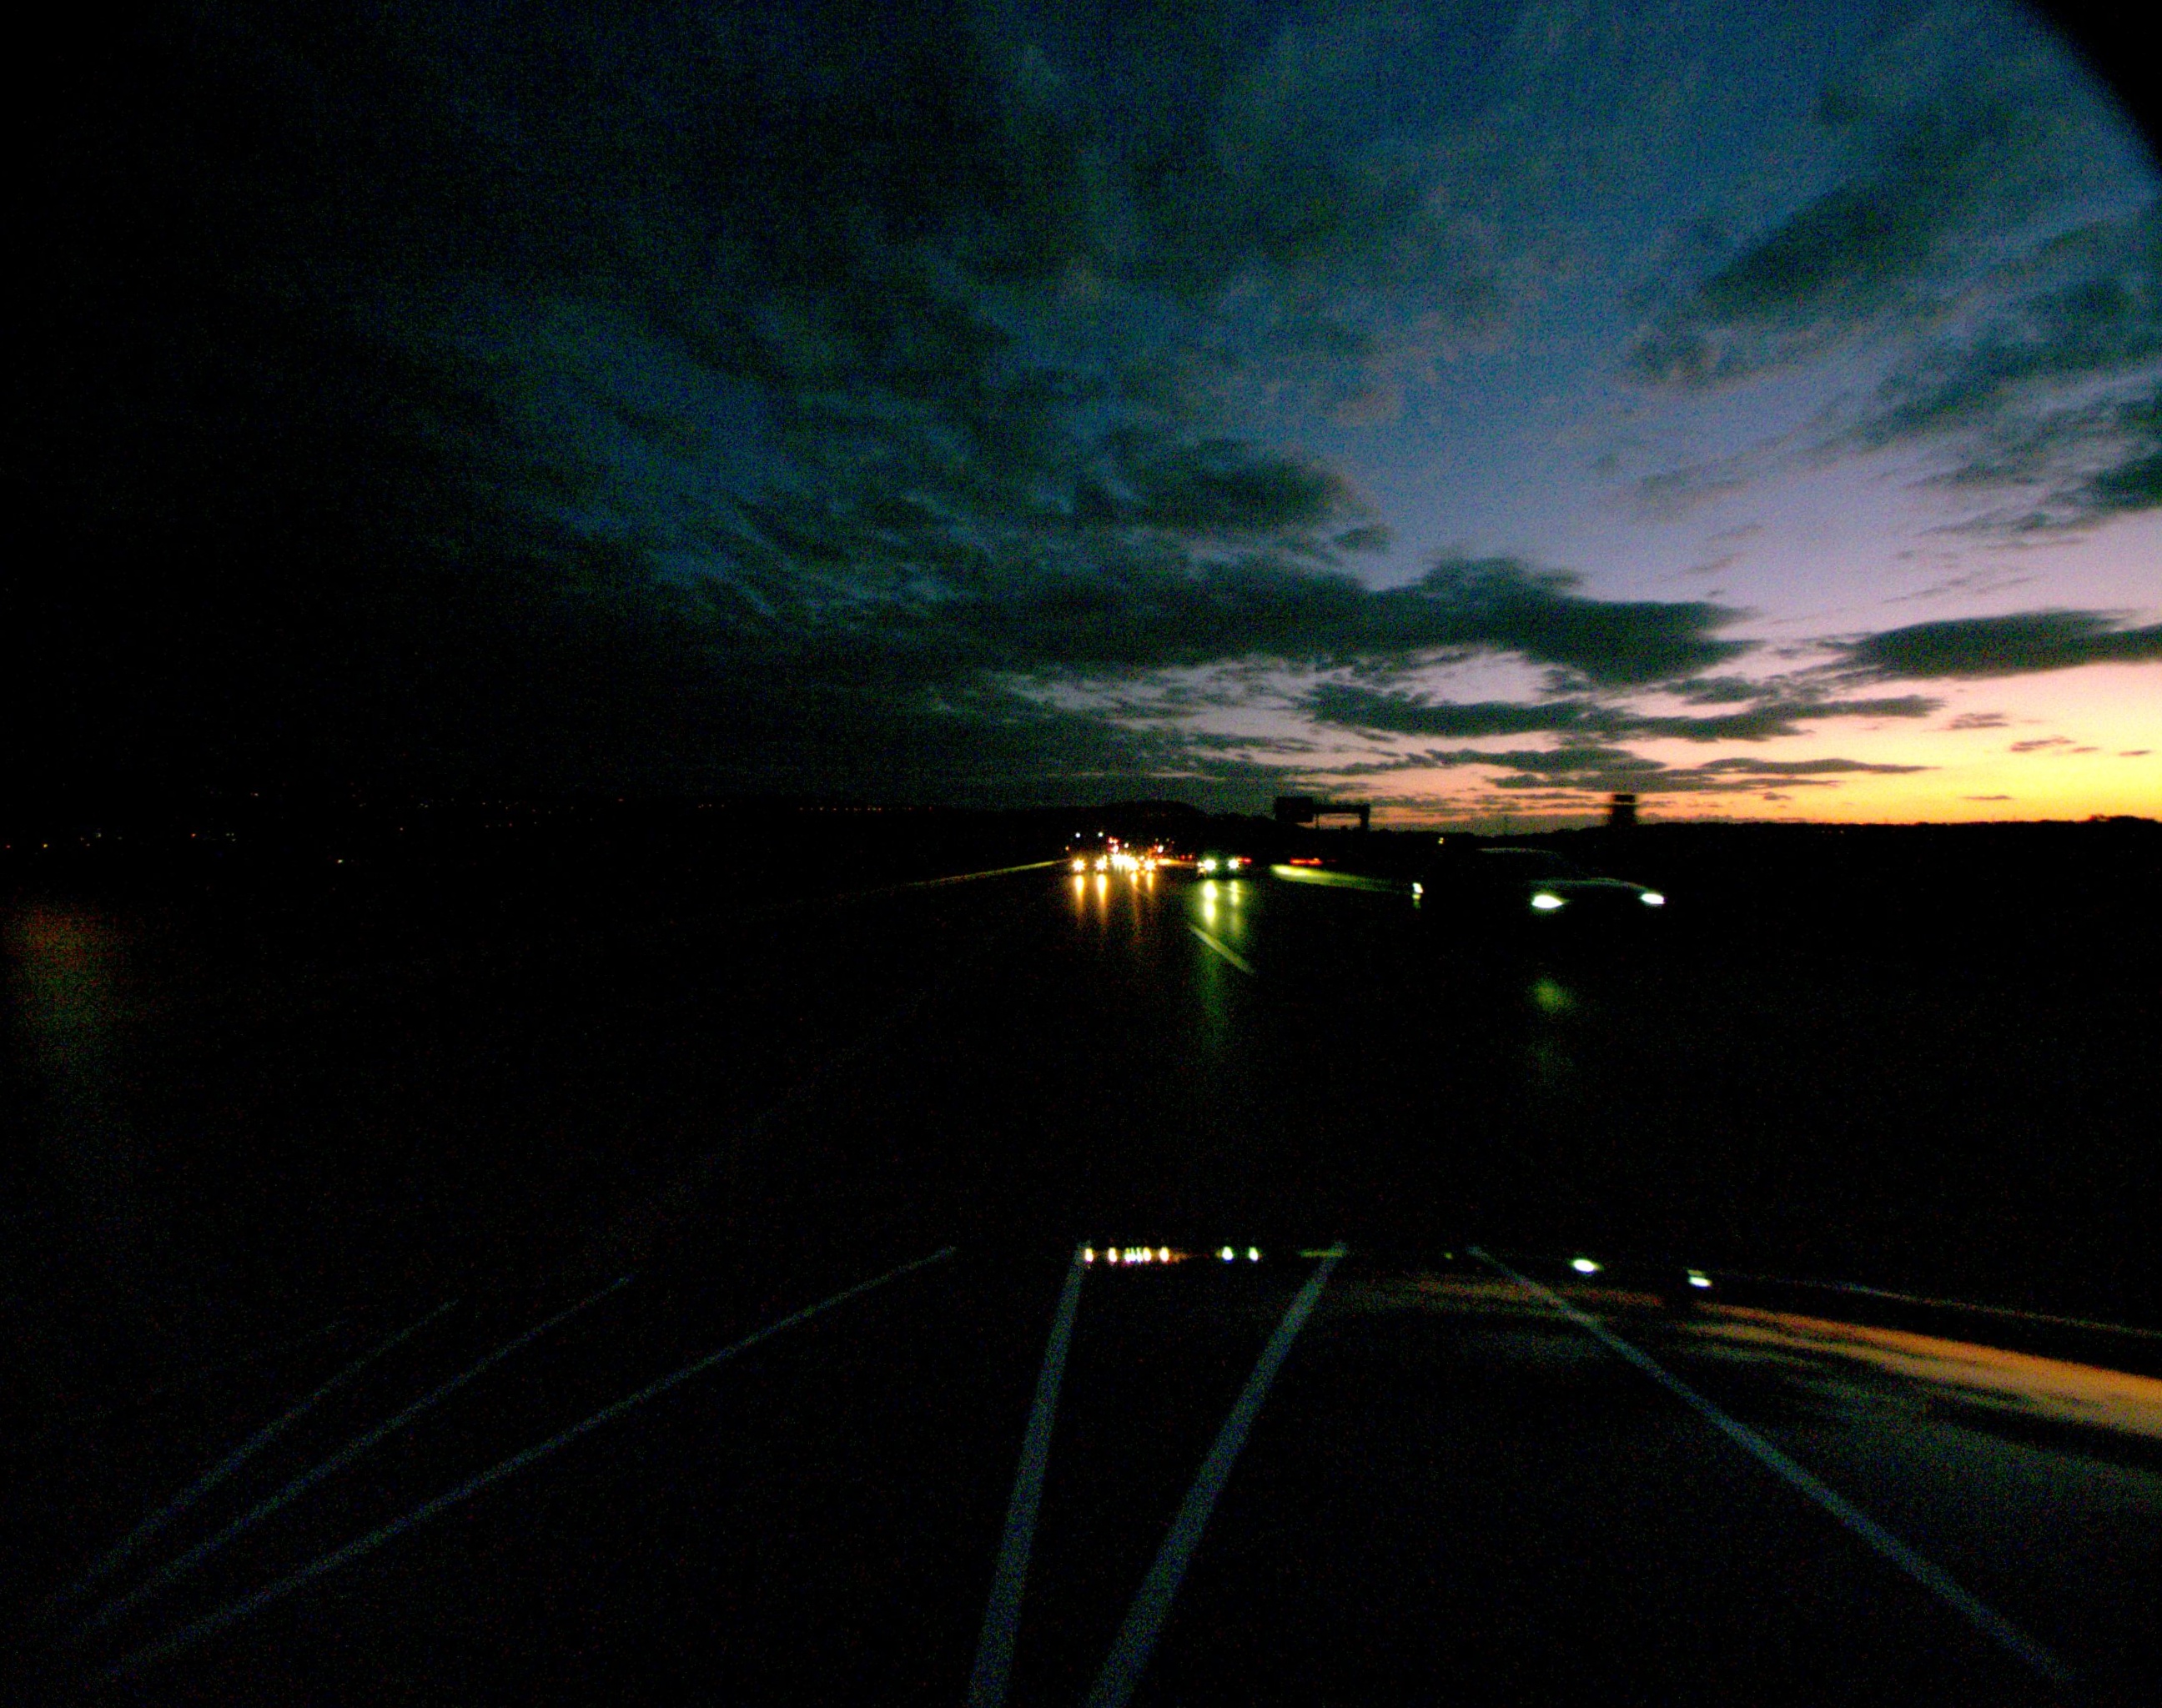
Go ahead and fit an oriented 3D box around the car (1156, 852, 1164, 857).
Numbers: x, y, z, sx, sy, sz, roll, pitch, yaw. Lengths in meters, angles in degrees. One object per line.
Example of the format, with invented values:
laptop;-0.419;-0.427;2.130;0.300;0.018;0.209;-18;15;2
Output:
car;23.639;0.217;226.907;1.998;1.404;4.658;-2;1;1

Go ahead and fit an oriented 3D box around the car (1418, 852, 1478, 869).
car;20.319;0.341;42.259;1.245;0.789;4.415;-2;1;1

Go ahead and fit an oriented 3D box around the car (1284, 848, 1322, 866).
car;16.803;0.218;57.660;1.670;1.211;3.999;-2;1;1

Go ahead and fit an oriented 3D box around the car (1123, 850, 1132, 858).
car;11.160;0.073;182.696;1.862;1.826;4.000;-2;1;1

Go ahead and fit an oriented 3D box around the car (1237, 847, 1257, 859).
car;22.062;-0.200;100.967;1.663;1.514;4.887;-2;1;1

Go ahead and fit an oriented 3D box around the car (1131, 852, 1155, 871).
car;5.305;0.605;65.538;1.802;1.531;4.159;-2;1;1

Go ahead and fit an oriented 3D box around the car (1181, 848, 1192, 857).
car;26.798;-0.398;193.248;1.998;2.374;5.835;-2;1;1

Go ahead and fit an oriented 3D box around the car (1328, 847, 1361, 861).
car;23.917;-0.009;69.121;1.670;1.174;3.999;-2;1;1

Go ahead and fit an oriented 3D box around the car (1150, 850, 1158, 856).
car;20.626;-0.273;214.304;1.736;1.362;3.900;-2;1;1

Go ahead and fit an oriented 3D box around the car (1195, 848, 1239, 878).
car;8.251;0.493;46.543;1.819;1.638;4.856;-2;1;1

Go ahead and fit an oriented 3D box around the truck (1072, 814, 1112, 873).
truck;0.992;-0.801;66.884;3.012;4.570;12.578;-2;0;1

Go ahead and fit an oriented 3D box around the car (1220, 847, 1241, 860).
car;17.169;-0.087;87.401;1.649;1.445;3.999;-2;1;1

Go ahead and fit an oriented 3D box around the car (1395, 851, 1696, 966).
car;7.329;0.719;12.866;1.819;1.429;5.394;-2;1;1
